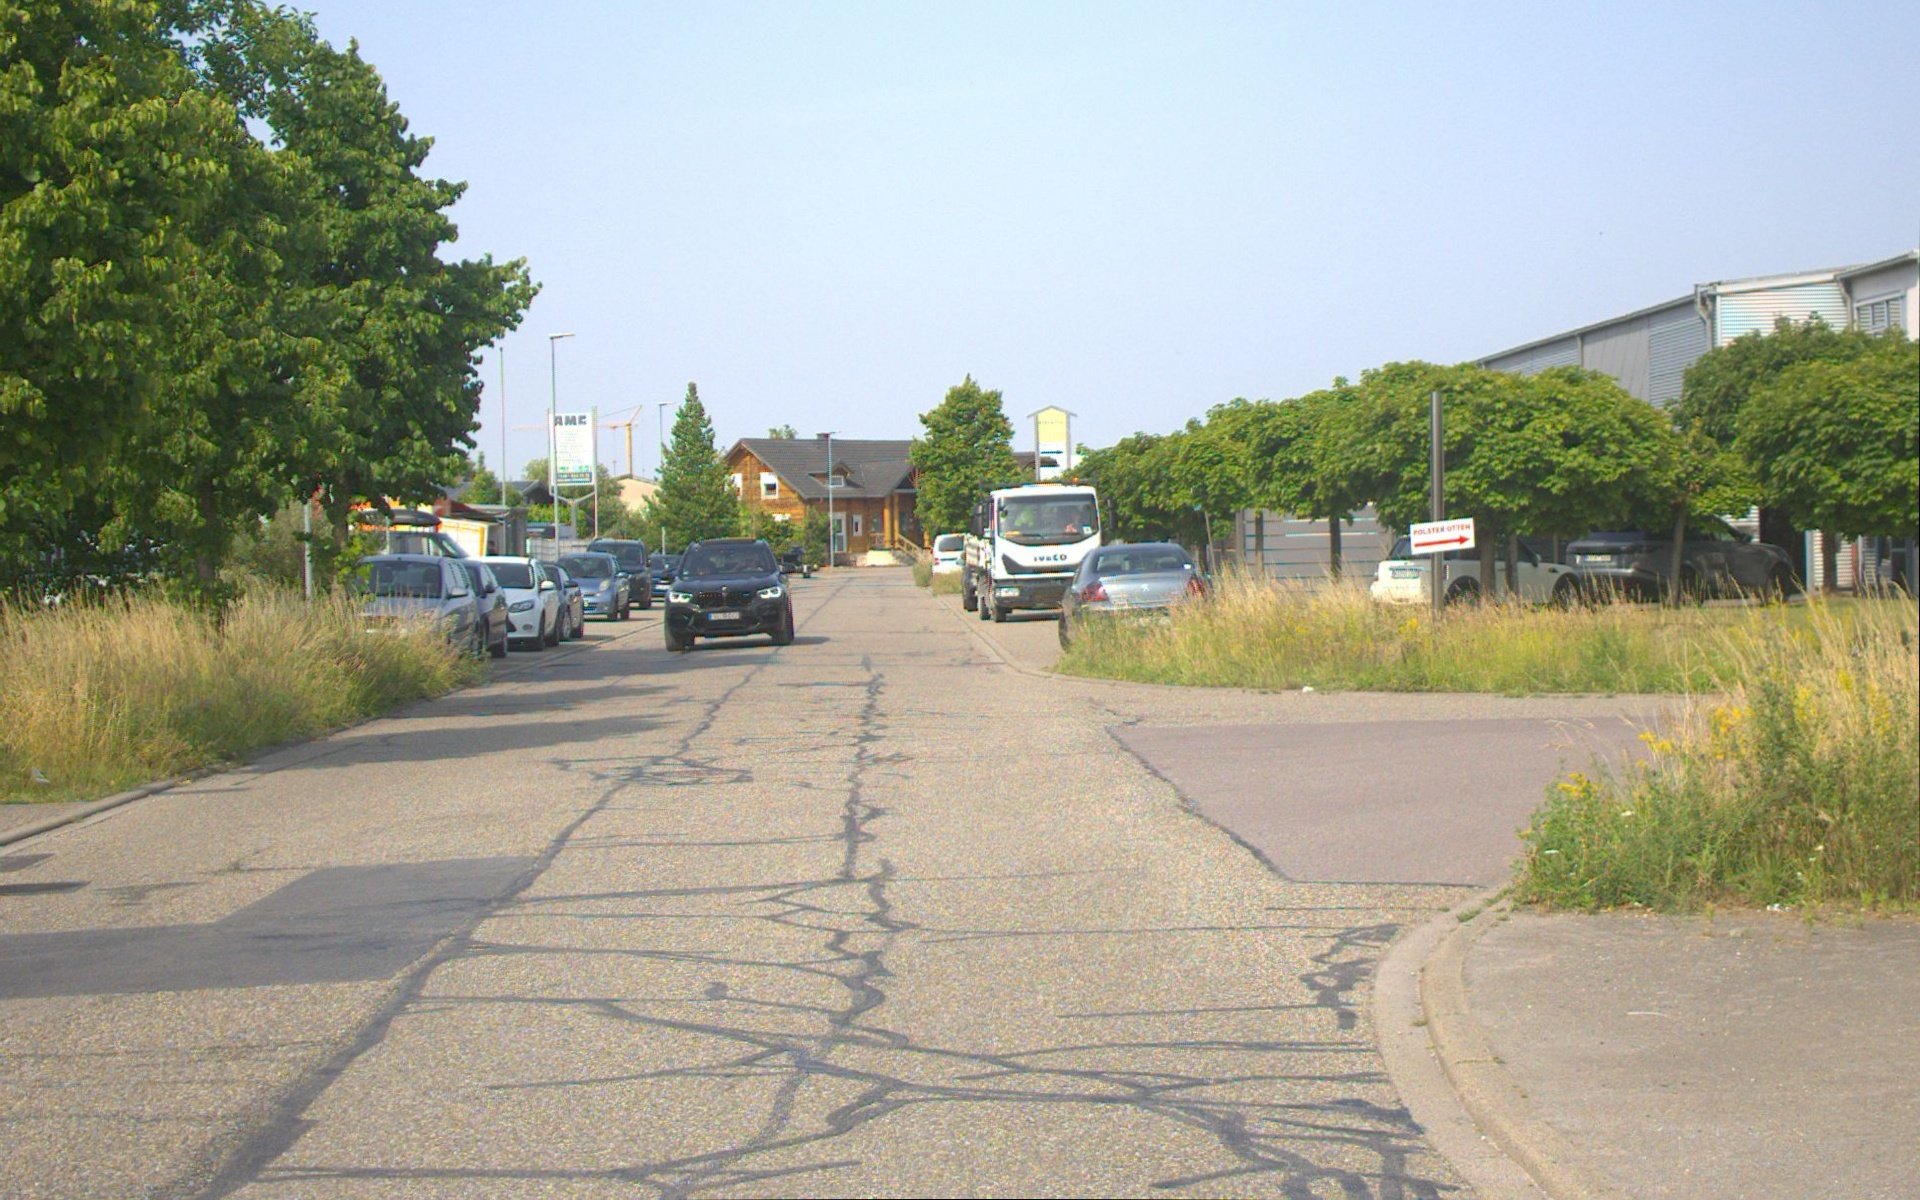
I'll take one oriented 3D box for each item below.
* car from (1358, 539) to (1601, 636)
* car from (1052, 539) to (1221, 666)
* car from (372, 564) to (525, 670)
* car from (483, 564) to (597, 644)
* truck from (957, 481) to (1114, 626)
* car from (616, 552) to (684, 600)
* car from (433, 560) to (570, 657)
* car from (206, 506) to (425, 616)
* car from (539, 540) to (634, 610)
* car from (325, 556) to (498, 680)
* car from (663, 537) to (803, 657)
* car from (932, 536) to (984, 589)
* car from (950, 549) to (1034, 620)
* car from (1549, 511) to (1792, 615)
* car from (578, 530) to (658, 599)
[{"bbox_3d":[8.036,-0.210,53.081,3.687,1.375,1.687,-2,1,-41],"label":"car"},{"bbox_3d":[2.224,0.001,44.376,1.794,1.512,4.424,-1,1,-2],"label":"car"},{"bbox_3d":[-7.300,0.208,49.386,1.578,1.438,3.963,0,1,0],"label":"car"},{"bbox_3d":[-7.579,0.044,62.388,1.633,1.382,4.370,0,1,-1],"label":"car"},{"bbox_3d":[1.427,-0.913,68.093,2.359,2.672,6.512,-1,1,-5],"label":"truck"},{"bbox_3d":[-9.316,-0.728,103.462,1.799,1.382,3.638,1,1,-2],"label":"car"},{"bbox_3d":[-7.269,0.108,54.818,1.683,1.464,4.254,0,1,-1],"label":"car"},{"bbox_3d":[-14.899,-0.905,79.667,4.627,2.408,2.000,-1,1,1],"label":"car"},{"bbox_3d":[-8.336,-0.564,76.898,1.633,1.512,3.605,1,1,1],"label":"car"},{"bbox_3d":[-7.106,0.202,44.816,1.566,1.533,3.688,1,1,1],"label":"car"},{"bbox_3d":[-3.502,-0.082,53.649,1.856,1.709,4.227,-3,1,0],"label":"car"},{"bbox_3d":[-0.098,-1.430,130.216,1.837,1.917,3.756,-2,1,-1],"label":"car"},{"bbox_3d":[0.710,-0.375,79.029,1.794,1.555,4.000,-1,1,-1],"label":"car"},{"bbox_3d":[11.721,-0.620,56.536,1.686,1.583,4.522,-1,1,45],"label":"car"},{"bbox_3d":[-9.025,-0.961,91.003,1.799,1.768,4.203,1,1,-2],"label":"car"}]
